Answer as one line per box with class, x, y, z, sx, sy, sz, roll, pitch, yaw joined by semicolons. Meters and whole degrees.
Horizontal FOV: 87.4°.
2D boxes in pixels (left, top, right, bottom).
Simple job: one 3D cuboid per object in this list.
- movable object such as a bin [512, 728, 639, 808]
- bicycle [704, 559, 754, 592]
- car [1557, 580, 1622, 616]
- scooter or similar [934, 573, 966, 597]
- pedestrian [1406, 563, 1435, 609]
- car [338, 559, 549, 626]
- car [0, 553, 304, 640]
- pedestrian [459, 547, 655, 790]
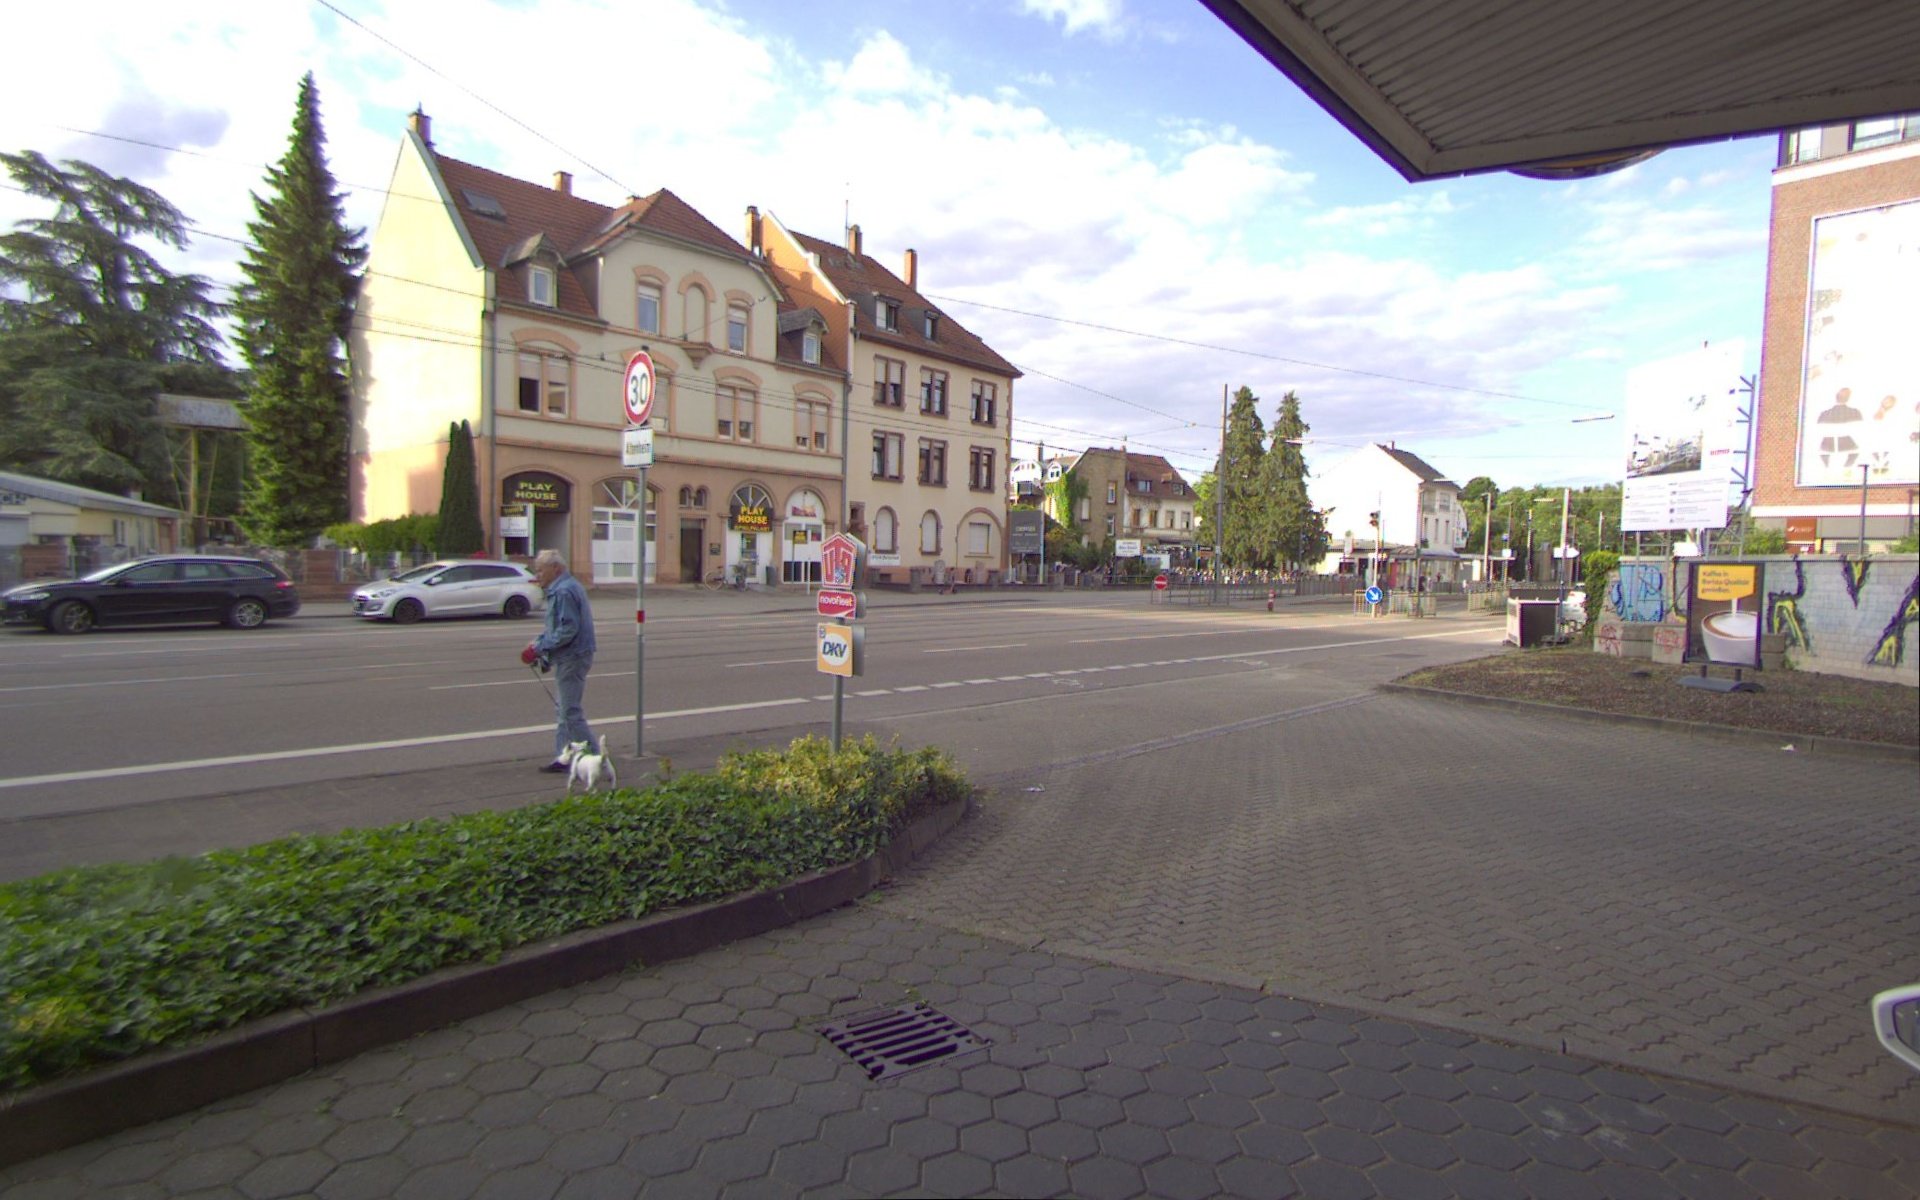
movable object such as a bin;-2.666;1.158;6.981;0.666;0.426;0.481;2;1;16
bicycle;-9.110;-0.955;39.617;0.665;1.229;1.862;4;2;40
car;29.436;-0.132;46.921;1.735;1.497;3.975;6;5;44
scooter or similar;-0.440;-0.665;45.119;0.461;1.041;1.655;4;3;40
pedestrian;20.571;-0.620;44.877;0.840;2.040;0.803;2;0;-28
car;-12.921;-0.234;25.362;1.699;1.503;4.434;4;4;40
car;-16.601;-0.139;20.740;1.983;1.520;4.755;4;4;39
pedestrian;-3.034;0.470;7.649;0.951;1.690;1.004;2;1;16
